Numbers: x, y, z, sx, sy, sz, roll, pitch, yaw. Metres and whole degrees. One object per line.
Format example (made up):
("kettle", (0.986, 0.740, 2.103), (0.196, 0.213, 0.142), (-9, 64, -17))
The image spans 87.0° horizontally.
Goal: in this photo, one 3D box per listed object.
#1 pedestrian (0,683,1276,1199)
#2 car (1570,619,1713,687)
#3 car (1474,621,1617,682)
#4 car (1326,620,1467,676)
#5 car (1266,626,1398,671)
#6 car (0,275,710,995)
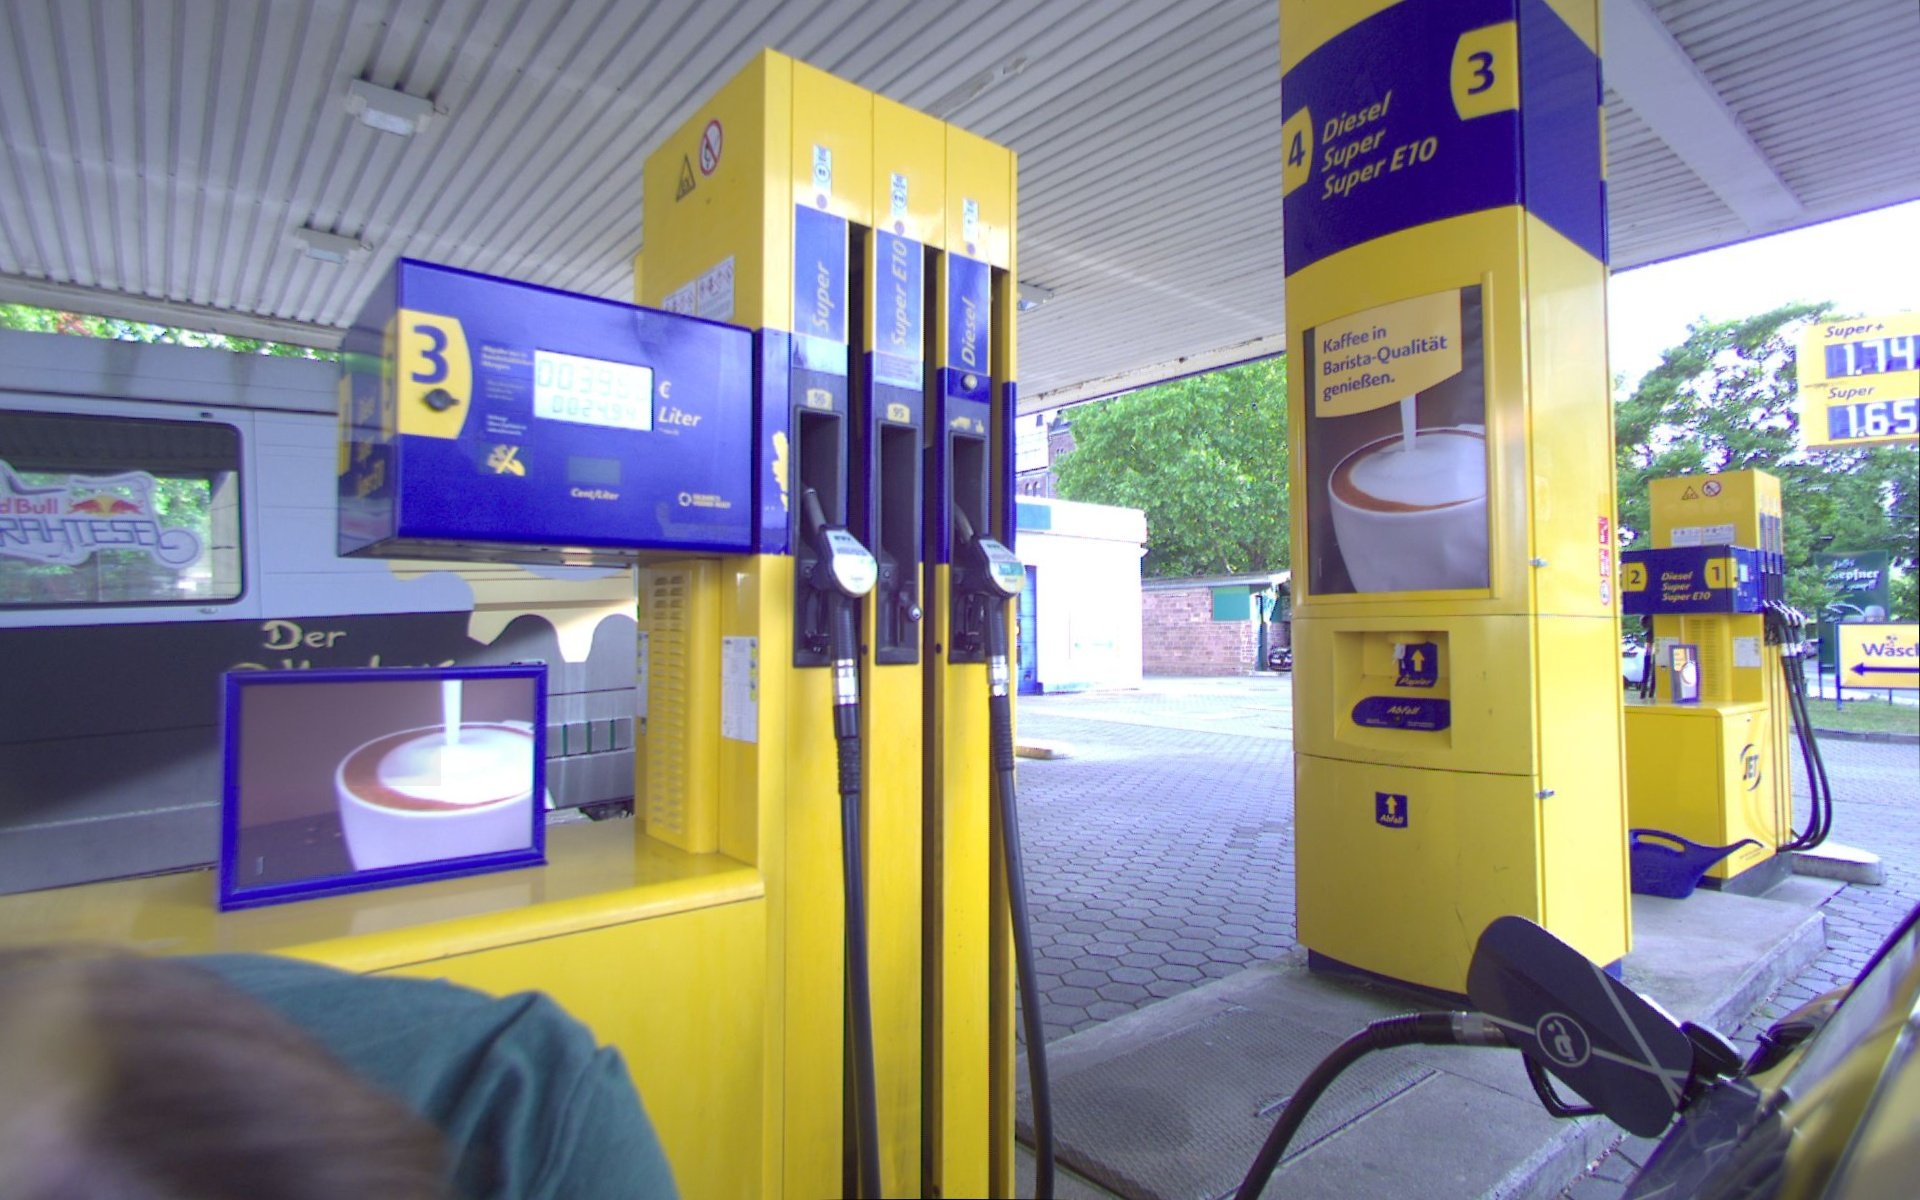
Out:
("pedestrian", (-0.338, 0.740, 0.550), (0.662, 1.298, 0.751), (0, 0, -41))
("car", (18.353, 1.438, 27.207), (4.308, 1.622, 1.774), (4, -4, -35))
("car", (17.843, 1.581, 30.806), (4.303, 1.622, 1.776), (4, -4, -28))
("car", (13.883, 1.521, 32.141), (4.303, 1.622, 1.777), (2, -1, -28))
("car", (12.687, 1.643, 34.432), (4.303, 1.393, 1.777), (2, -1, -28))
("car", (-4.112, 0.150, 4.898), (5.197, 2.726, 2.258), (1, -2, -39))
